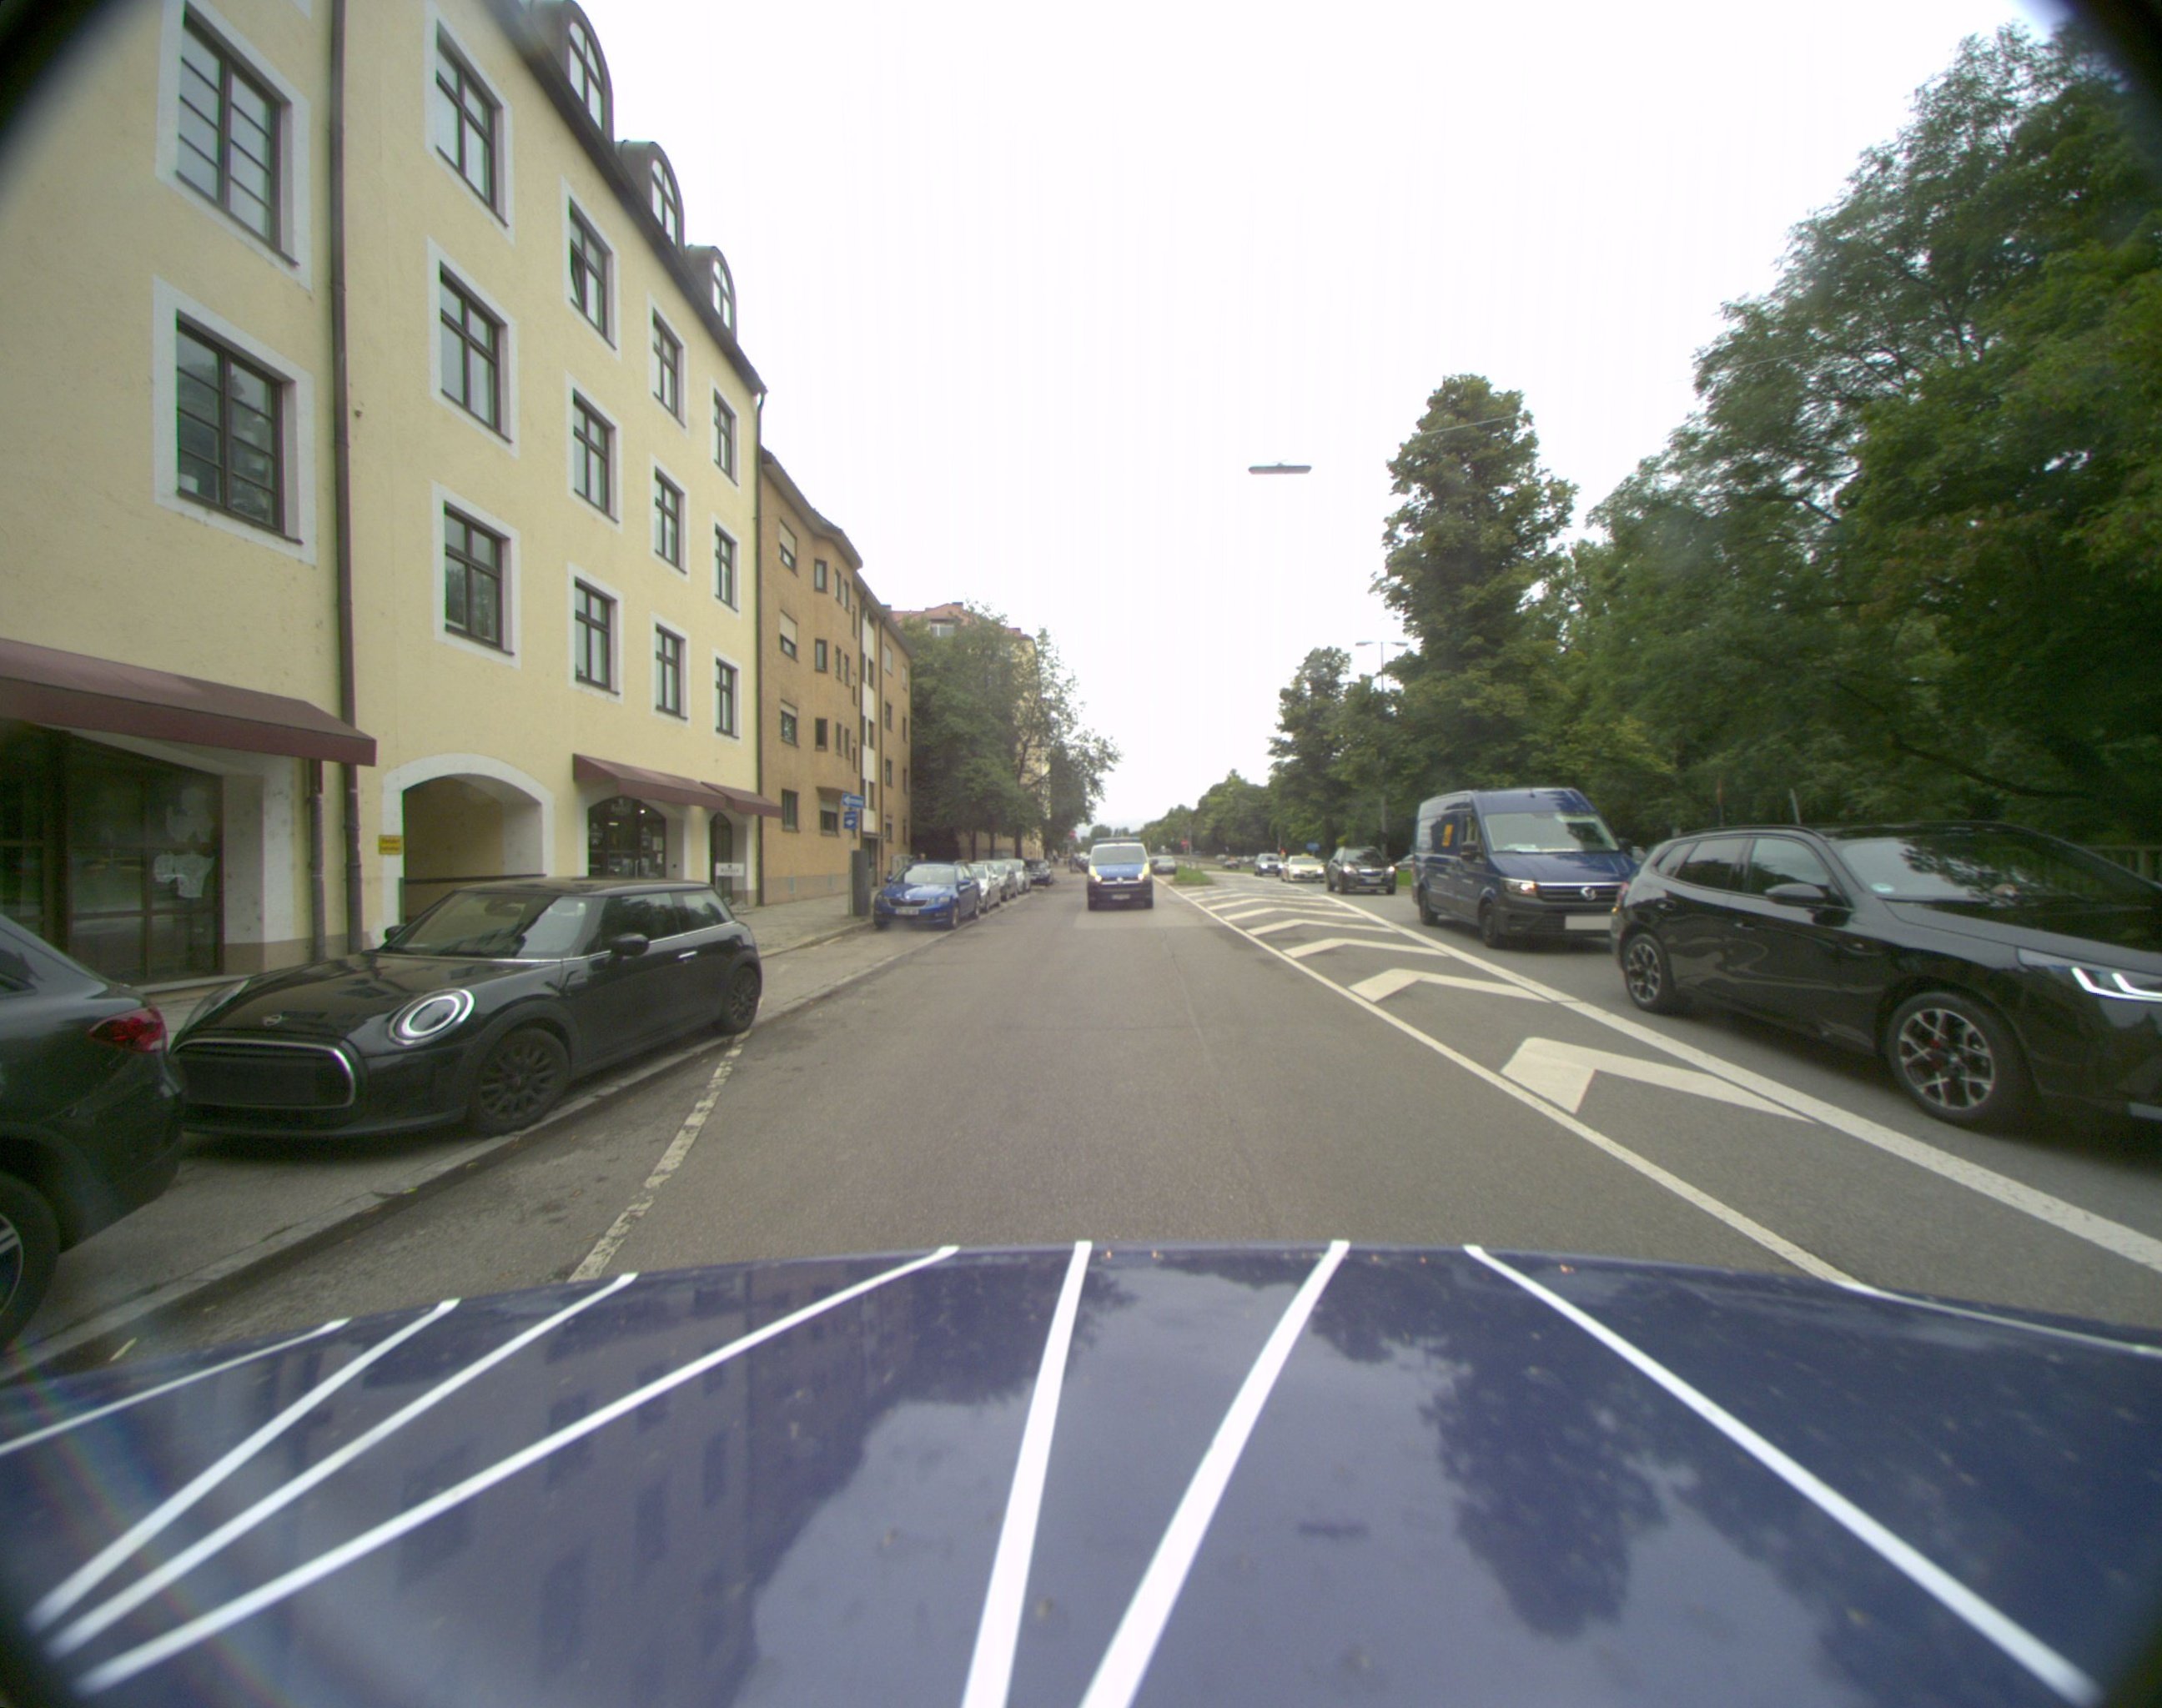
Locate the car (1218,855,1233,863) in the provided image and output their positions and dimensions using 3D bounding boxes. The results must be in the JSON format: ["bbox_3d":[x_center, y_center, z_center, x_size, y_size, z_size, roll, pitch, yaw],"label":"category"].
[{"bbox_3d":[28.344,0.998,148.944,1.897,1.438,4.032,0,0,-4],"label":"car"}]

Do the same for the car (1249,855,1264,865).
[{"bbox_3d":[32.243,1.145,139.794,1.866,1.736,4.000,-1,0,1],"label":"car"}]

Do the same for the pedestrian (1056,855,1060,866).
[{"bbox_3d":[-3.950,1.096,131.097,0.458,2.002,0.617,0,0,-17],"label":"pedestrian"}]

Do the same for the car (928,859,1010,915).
[{"bbox_3d":[-3.271,0.918,23.010,1.694,1.487,4.434,1,0,2],"label":"car"}]

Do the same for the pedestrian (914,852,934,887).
[{"bbox_3d":[-7.341,0.704,35.620,0.672,1.614,0.980,-1,1,3],"label":"pedestrian"}]

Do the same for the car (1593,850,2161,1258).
[{"bbox_3d":[5.675,0.785,5.137,1.916,1.577,4.834,-1,0,11],"label":"car"}]

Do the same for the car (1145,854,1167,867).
[{"bbox_3d":[8.606,0.725,87.966,1.992,1.447,4.281,0,0,-2],"label":"car"}]

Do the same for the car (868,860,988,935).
[{"bbox_3d":[-3.440,0.912,17.960,1.760,1.487,4.488,1,0,2],"label":"car"}]

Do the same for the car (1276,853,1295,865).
[{"bbox_3d":[32.840,0.778,122.059,1.998,1.736,4.000,-1,0,1],"label":"car"}]

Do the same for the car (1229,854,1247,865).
[{"bbox_3d":[23.119,0.784,111.729,1.865,1.549,4.000,-1,0,1],"label":"car"}]

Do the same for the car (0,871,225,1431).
[{"bbox_3d":[-4.205,0.902,0.550,1.761,1.669,4.707,1,0,2],"label":"car"}]

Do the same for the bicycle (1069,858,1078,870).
[{"bbox_3d":[-0.748,0.942,71.923,0.632,1.031,1.736,0,0,7],"label":"bicycle"}]

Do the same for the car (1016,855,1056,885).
[{"bbox_3d":[-2.417,0.851,41.957,1.796,1.488,4.376,2,0,2],"label":"car"}]

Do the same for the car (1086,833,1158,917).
[{"bbox_3d":[1.129,0.515,22.294,1.856,2.198,4.553,-1,1,1],"label":"car"}]

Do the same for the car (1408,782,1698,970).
[{"bbox_3d":[7.466,0.245,12.980,2.187,2.450,5.855,0,1,10],"label":"car"}]

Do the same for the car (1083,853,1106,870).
[{"bbox_3d":[1.359,0.745,74.313,2.129,1.556,4.508,-1,0,2],"label":"car"}]

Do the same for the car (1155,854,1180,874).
[{"bbox_3d":[6.907,0.783,61.017,1.902,1.556,4.773,0,0,6],"label":"car"}]

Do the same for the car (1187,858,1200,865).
[{"bbox_3d":[22.609,1.471,153.219,1.832,1.438,4.235,1,0,-2],"label":"car"}]

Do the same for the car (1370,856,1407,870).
[{"bbox_3d":[33.190,0.990,82.202,1.999,1.438,4.524,1,0,-3],"label":"car"}]

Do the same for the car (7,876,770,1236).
[{"bbox_3d":[-4.013,0.975,5.412,1.760,1.487,3.824,1,0,5],"label":"car"}]

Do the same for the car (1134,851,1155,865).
[{"bbox_3d":[8.139,0.461,97.555,2.075,1.692,5.089,-1,0,-2],"label":"car"}]

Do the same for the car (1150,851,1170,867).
[{"bbox_3d":[7.970,0.505,76.935,1.991,1.556,4.284,0,0,4],"label":"car"}]

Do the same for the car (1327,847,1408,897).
[{"bbox_3d":[9.960,0.584,26.708,1.990,1.618,4.277,0,0,11],"label":"car"}]

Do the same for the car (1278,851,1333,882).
[{"bbox_3d":[11.920,0.634,40.606,1.991,1.556,4.656,0,0,6],"label":"car"}]

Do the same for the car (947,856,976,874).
[{"bbox_3d":[-10.081,0.872,64.190,1.917,1.458,4.244,0,0,-2],"label":"car"}]

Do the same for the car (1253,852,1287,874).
[{"bbox_3d":[13.923,0.623,56.168,1.991,1.556,4.276,0,0,8],"label":"car"}]

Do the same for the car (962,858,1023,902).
[{"bbox_3d":[-3.203,0.911,28.094,1.632,1.487,3.787,1,0,2],"label":"car"}]

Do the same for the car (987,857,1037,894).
[{"bbox_3d":[-2.935,0.889,32.963,1.632,1.487,3.821,1,0,2],"label":"car"}]
